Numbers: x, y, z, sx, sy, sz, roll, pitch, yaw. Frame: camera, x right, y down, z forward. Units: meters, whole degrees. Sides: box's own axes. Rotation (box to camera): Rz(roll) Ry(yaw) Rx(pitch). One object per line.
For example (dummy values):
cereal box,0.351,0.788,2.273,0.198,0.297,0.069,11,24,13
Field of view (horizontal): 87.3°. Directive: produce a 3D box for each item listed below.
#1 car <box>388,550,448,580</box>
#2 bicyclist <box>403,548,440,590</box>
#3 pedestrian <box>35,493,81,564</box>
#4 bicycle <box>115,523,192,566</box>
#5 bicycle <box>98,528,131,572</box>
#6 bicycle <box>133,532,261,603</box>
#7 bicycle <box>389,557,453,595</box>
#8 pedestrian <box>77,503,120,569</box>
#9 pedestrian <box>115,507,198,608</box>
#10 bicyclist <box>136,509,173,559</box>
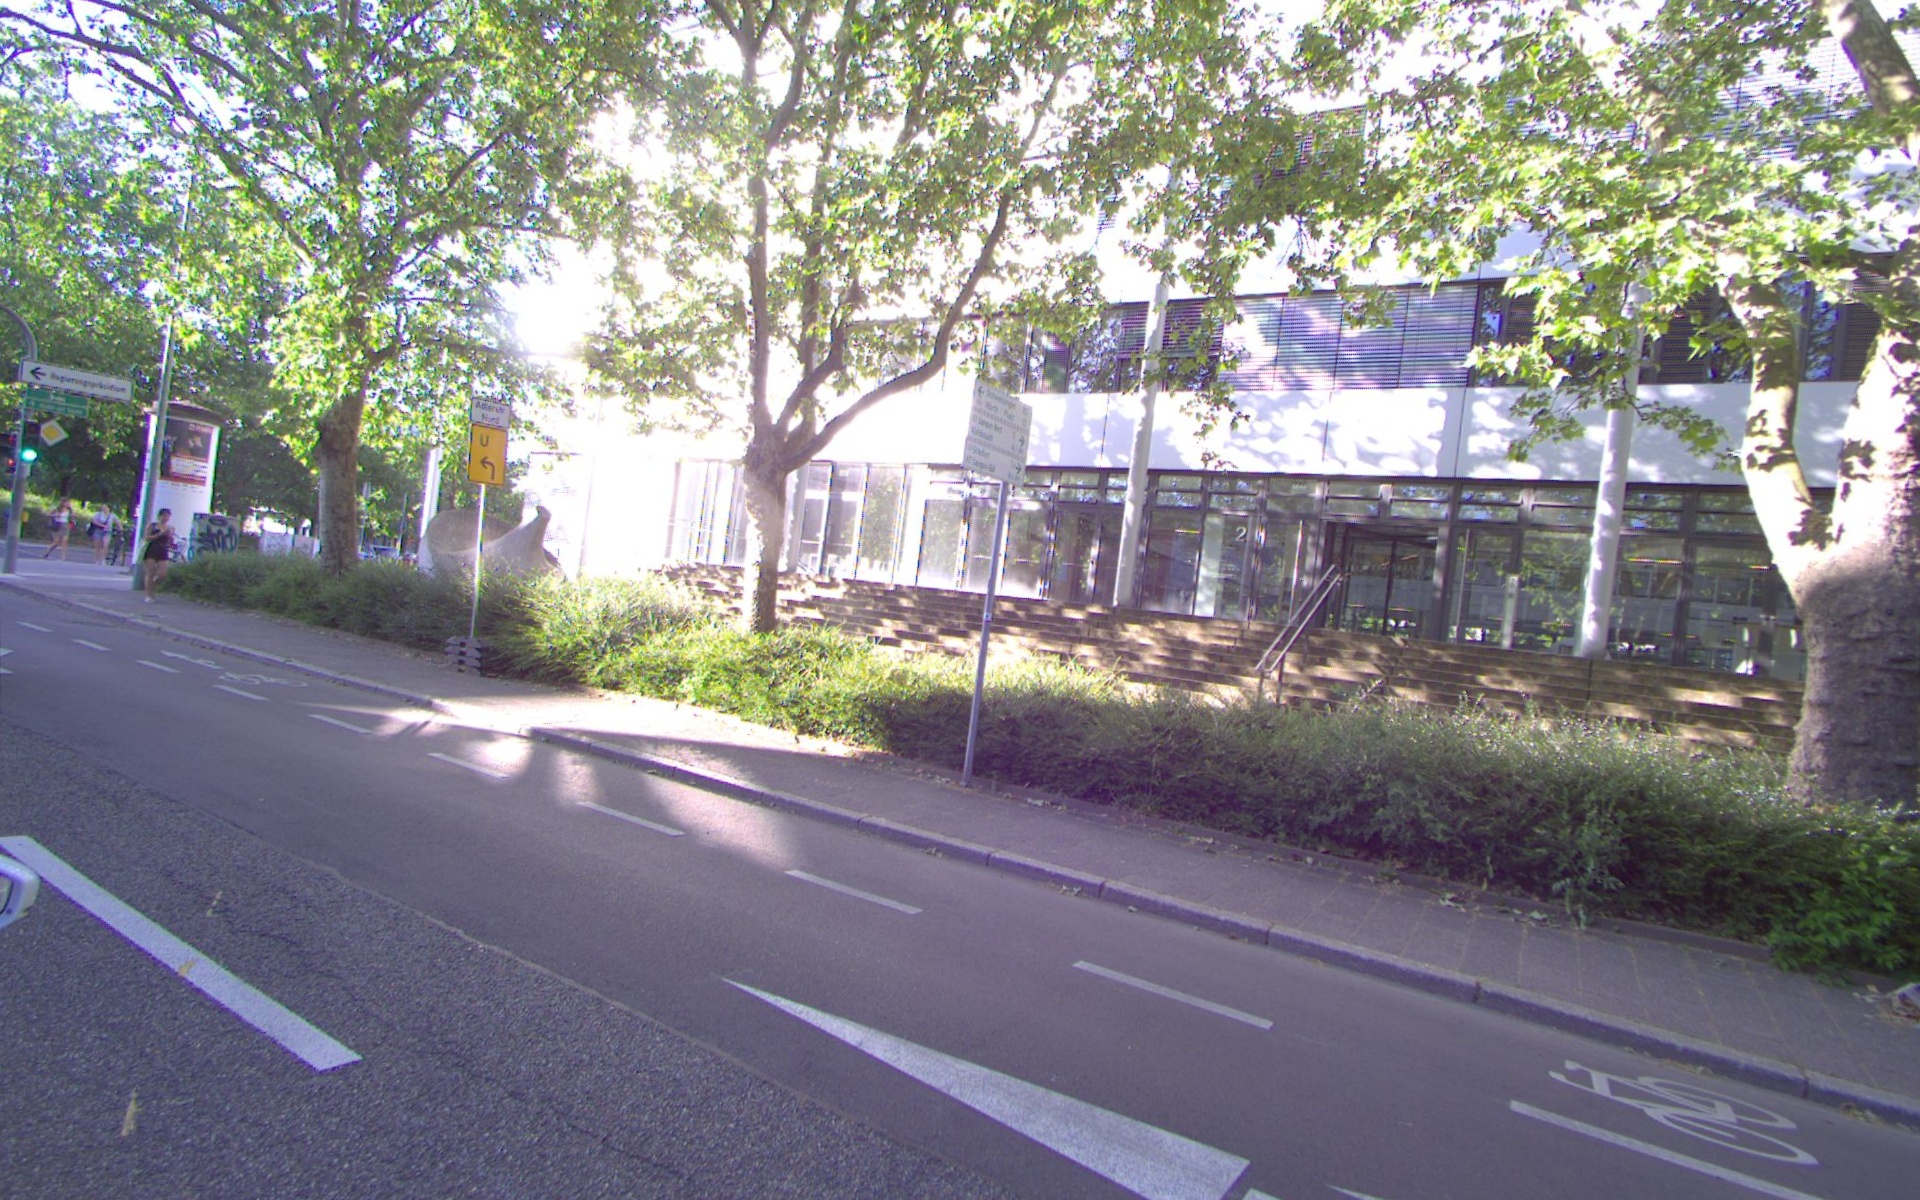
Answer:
car,-35.521,-2.317,65.931,3.732,1.500,1.633,6,-2,31
bicyclist,-23.175,-1.320,43.281,0.856,1.634,0.965,6,-1,34
pedestrian,-24.645,-1.946,27.490,0.897,1.830,0.730,5,0,43
bicycle,-29.753,-2.035,37.131,0.589,1.234,2.035,6,-2,31
bicycle,-23.826,-1.414,28.343,0.523,1.113,1.720,8,-2,-43
bicycle,-15.889,-0.645,21.019,0.519,1.203,1.980,6,-2,30
bicycle,-23.184,-1.012,43.321,0.649,1.341,2.293,6,-2,32
pedestrian,-24.032,-1.790,28.052,0.958,1.717,0.682,6,-1,45
pedestrian,-14.023,-0.733,17.557,0.893,1.651,0.798,6,0,33
bicyclist,-29.718,-2.444,37.127,0.664,1.717,0.711,6,-1,32
